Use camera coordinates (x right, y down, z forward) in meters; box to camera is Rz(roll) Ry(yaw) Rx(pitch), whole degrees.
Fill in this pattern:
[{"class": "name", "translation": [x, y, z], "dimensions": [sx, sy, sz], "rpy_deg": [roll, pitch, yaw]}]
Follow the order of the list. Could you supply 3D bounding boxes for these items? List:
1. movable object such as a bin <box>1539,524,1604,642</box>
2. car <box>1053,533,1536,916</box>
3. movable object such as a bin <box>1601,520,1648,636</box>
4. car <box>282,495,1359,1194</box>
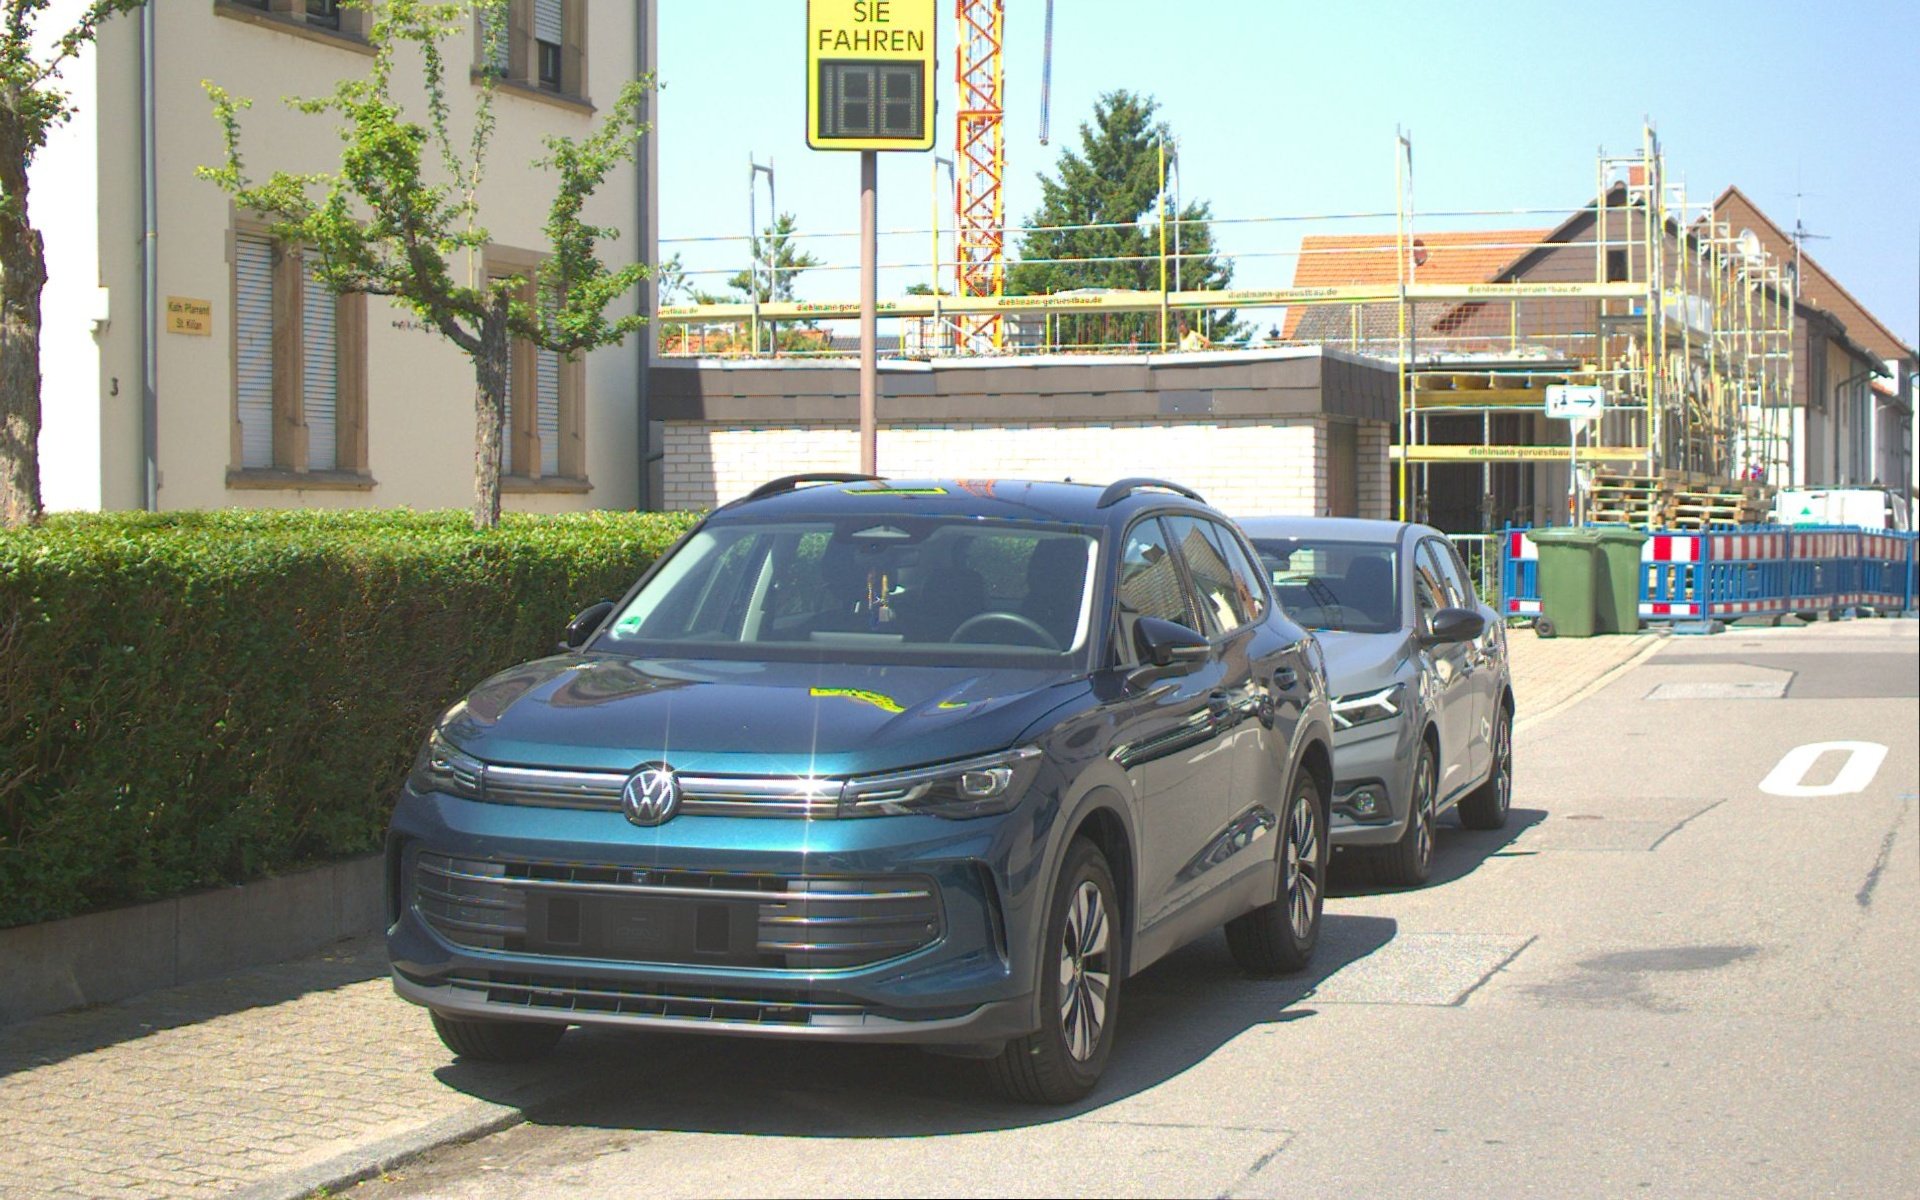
[{"class": "movable object such as a bin", "translation": [6.075, -0.171, 34.131], "dimensions": [0.622, 1.151, 0.677], "rpy_deg": [0, 2, 11]}, {"class": "car", "translation": [1.609, 0.456, 15.374], "dimensions": [1.437, 1.469, 3.784], "rpy_deg": [-1, 1, 17]}, {"class": "movable object such as a bin", "translation": [6.656, -0.224, 34.445], "dimensions": [0.431, 1.151, 0.364], "rpy_deg": [0, 2, 8]}, {"class": "car", "translation": [-0.148, 0.510, 10.273], "dimensions": [1.828, 1.625, 4.213], "rpy_deg": [0, 2, 18]}]
